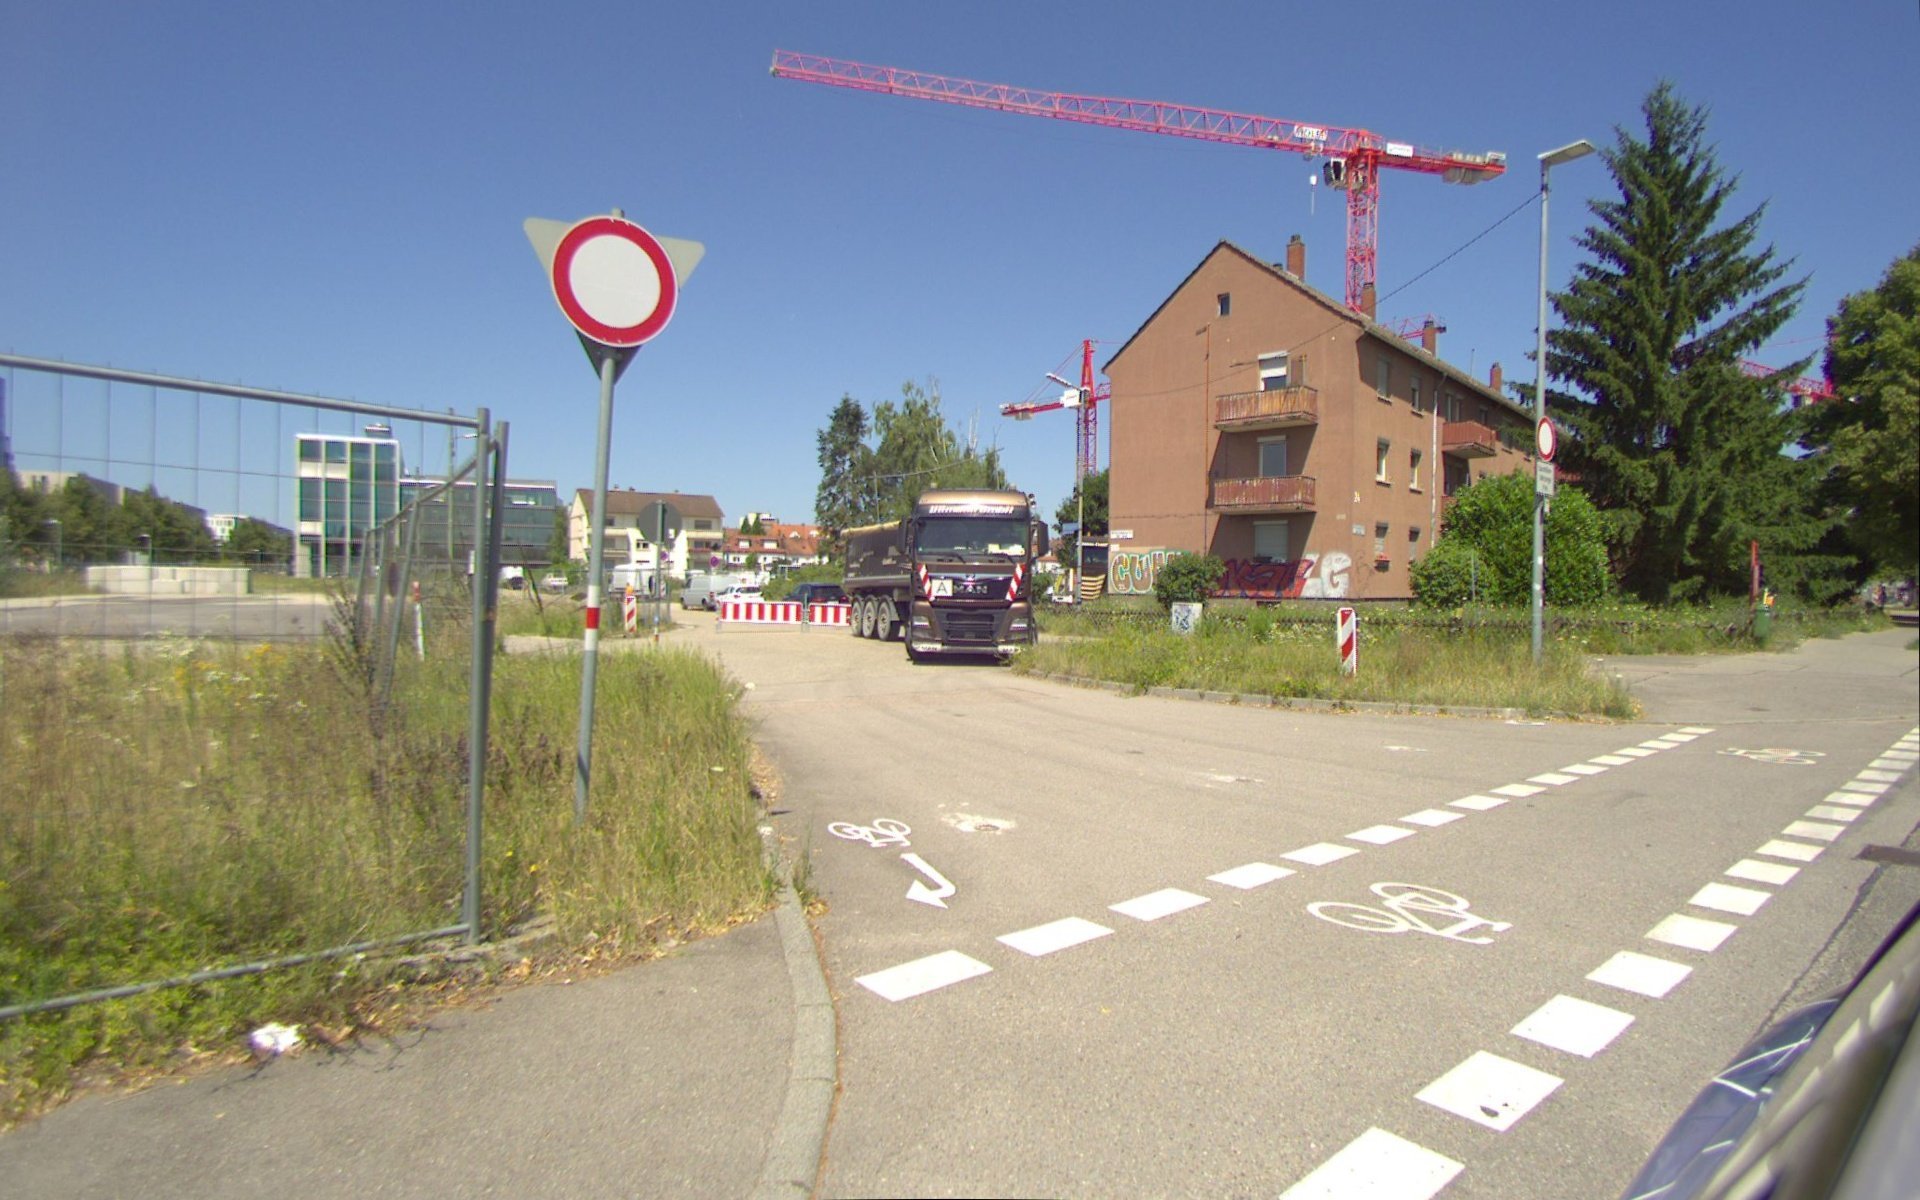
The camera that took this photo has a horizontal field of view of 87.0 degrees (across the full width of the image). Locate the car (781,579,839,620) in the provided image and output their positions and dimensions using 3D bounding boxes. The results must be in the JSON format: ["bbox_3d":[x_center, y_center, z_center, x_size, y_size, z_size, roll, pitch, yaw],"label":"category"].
[{"bbox_3d":[-6.350,-0.052,42.658,1.342,1.633,3.423,0,1,-28],"label":"car"}]

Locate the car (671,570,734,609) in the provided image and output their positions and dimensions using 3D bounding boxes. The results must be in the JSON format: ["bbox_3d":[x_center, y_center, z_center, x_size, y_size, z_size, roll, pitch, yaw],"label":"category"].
[{"bbox_3d":[-14.142,-0.595,55.380,1.751,2.039,4.682,0,1,-36],"label":"car"}]

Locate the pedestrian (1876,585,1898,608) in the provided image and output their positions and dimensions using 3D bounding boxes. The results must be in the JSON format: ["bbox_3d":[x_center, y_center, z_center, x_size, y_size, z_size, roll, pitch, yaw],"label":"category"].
[{"bbox_3d":[64.590,-0.239,70.502,0.670,1.536,1.023,0,1,-41],"label":"pedestrian"}]

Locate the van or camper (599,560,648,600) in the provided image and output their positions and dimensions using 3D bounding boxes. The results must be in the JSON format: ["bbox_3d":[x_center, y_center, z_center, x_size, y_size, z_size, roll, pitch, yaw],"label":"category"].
[{"bbox_3d":[-23.746,-1.407,71.161,1.891,2.634,7.010,0,1,-30],"label":"van or camper"}]

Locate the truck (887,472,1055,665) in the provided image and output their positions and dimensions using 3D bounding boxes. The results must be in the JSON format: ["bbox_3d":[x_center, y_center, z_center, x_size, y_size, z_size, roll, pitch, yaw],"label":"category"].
[{"bbox_3d":[0.237,-0.646,21.400,3.105,3.577,4.964,1,1,1],"label":"truck"}]

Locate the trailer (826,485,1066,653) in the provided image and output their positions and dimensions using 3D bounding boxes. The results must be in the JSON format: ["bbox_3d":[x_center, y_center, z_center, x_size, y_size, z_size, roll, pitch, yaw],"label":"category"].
[{"bbox_3d":[-0.794,-0.752,26.365,3.098,3.577,9.011,0,1,-23],"label":"trailer"}]

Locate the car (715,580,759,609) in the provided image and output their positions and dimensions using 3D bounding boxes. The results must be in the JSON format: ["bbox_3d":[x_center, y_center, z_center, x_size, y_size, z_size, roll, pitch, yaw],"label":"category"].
[{"bbox_3d":[-11.275,-0.295,51.081,1.390,1.423,2.794,0,1,-29],"label":"car"}]

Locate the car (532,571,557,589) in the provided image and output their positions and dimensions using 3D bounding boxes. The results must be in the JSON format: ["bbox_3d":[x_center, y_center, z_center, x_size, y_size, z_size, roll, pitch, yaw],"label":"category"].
[{"bbox_3d":[-40.311,-1.921,98.181,1.647,1.606,3.624,-1,1,-31],"label":"car"}]
